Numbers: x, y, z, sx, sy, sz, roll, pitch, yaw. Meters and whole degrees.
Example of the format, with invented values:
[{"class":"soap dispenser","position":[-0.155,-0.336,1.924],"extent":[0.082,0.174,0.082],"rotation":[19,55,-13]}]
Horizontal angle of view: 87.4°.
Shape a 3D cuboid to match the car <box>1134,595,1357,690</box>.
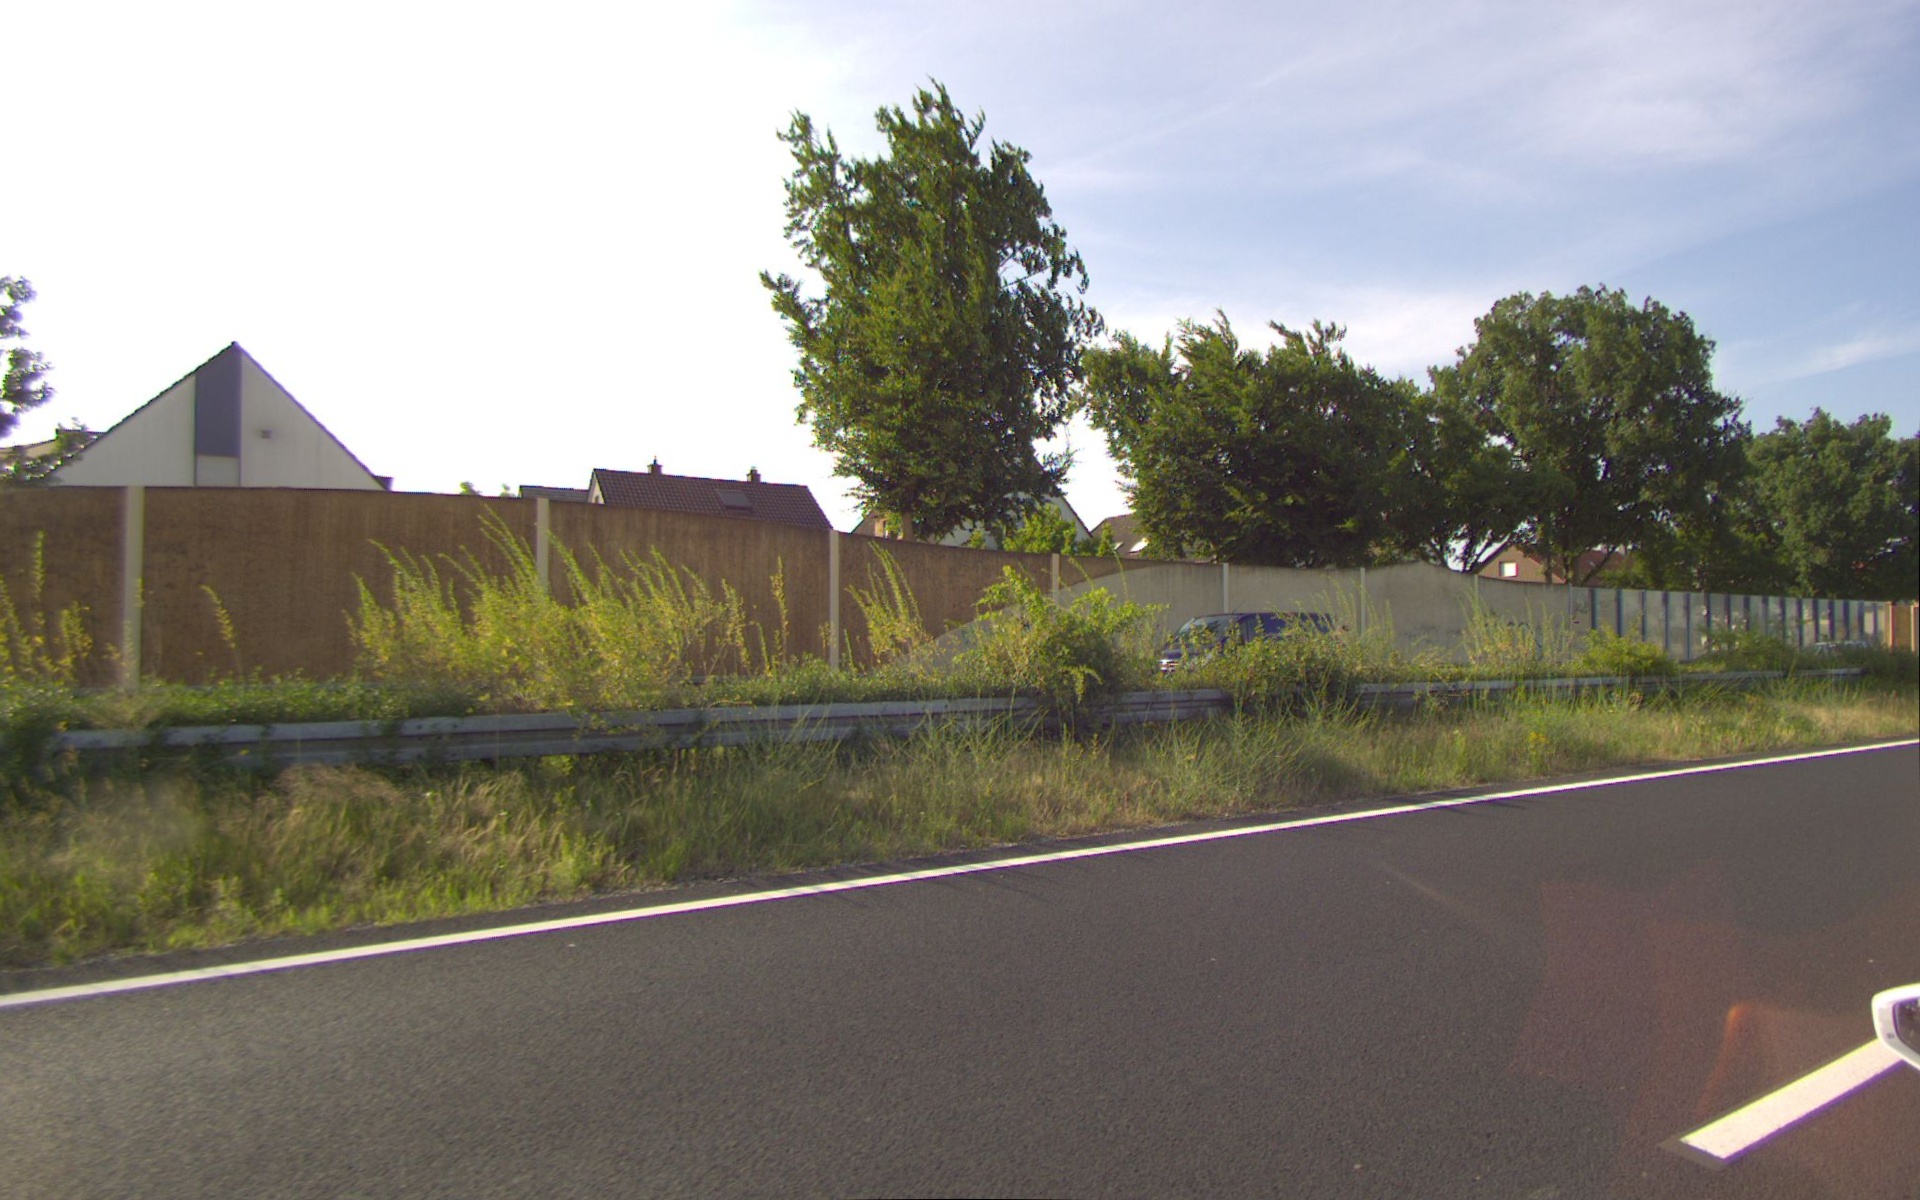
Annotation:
[{"class":"car","position":[6.211,0.882,21.707],"extent":[4.627,1.848,1.984],"rotation":[2,0,-30]}]
